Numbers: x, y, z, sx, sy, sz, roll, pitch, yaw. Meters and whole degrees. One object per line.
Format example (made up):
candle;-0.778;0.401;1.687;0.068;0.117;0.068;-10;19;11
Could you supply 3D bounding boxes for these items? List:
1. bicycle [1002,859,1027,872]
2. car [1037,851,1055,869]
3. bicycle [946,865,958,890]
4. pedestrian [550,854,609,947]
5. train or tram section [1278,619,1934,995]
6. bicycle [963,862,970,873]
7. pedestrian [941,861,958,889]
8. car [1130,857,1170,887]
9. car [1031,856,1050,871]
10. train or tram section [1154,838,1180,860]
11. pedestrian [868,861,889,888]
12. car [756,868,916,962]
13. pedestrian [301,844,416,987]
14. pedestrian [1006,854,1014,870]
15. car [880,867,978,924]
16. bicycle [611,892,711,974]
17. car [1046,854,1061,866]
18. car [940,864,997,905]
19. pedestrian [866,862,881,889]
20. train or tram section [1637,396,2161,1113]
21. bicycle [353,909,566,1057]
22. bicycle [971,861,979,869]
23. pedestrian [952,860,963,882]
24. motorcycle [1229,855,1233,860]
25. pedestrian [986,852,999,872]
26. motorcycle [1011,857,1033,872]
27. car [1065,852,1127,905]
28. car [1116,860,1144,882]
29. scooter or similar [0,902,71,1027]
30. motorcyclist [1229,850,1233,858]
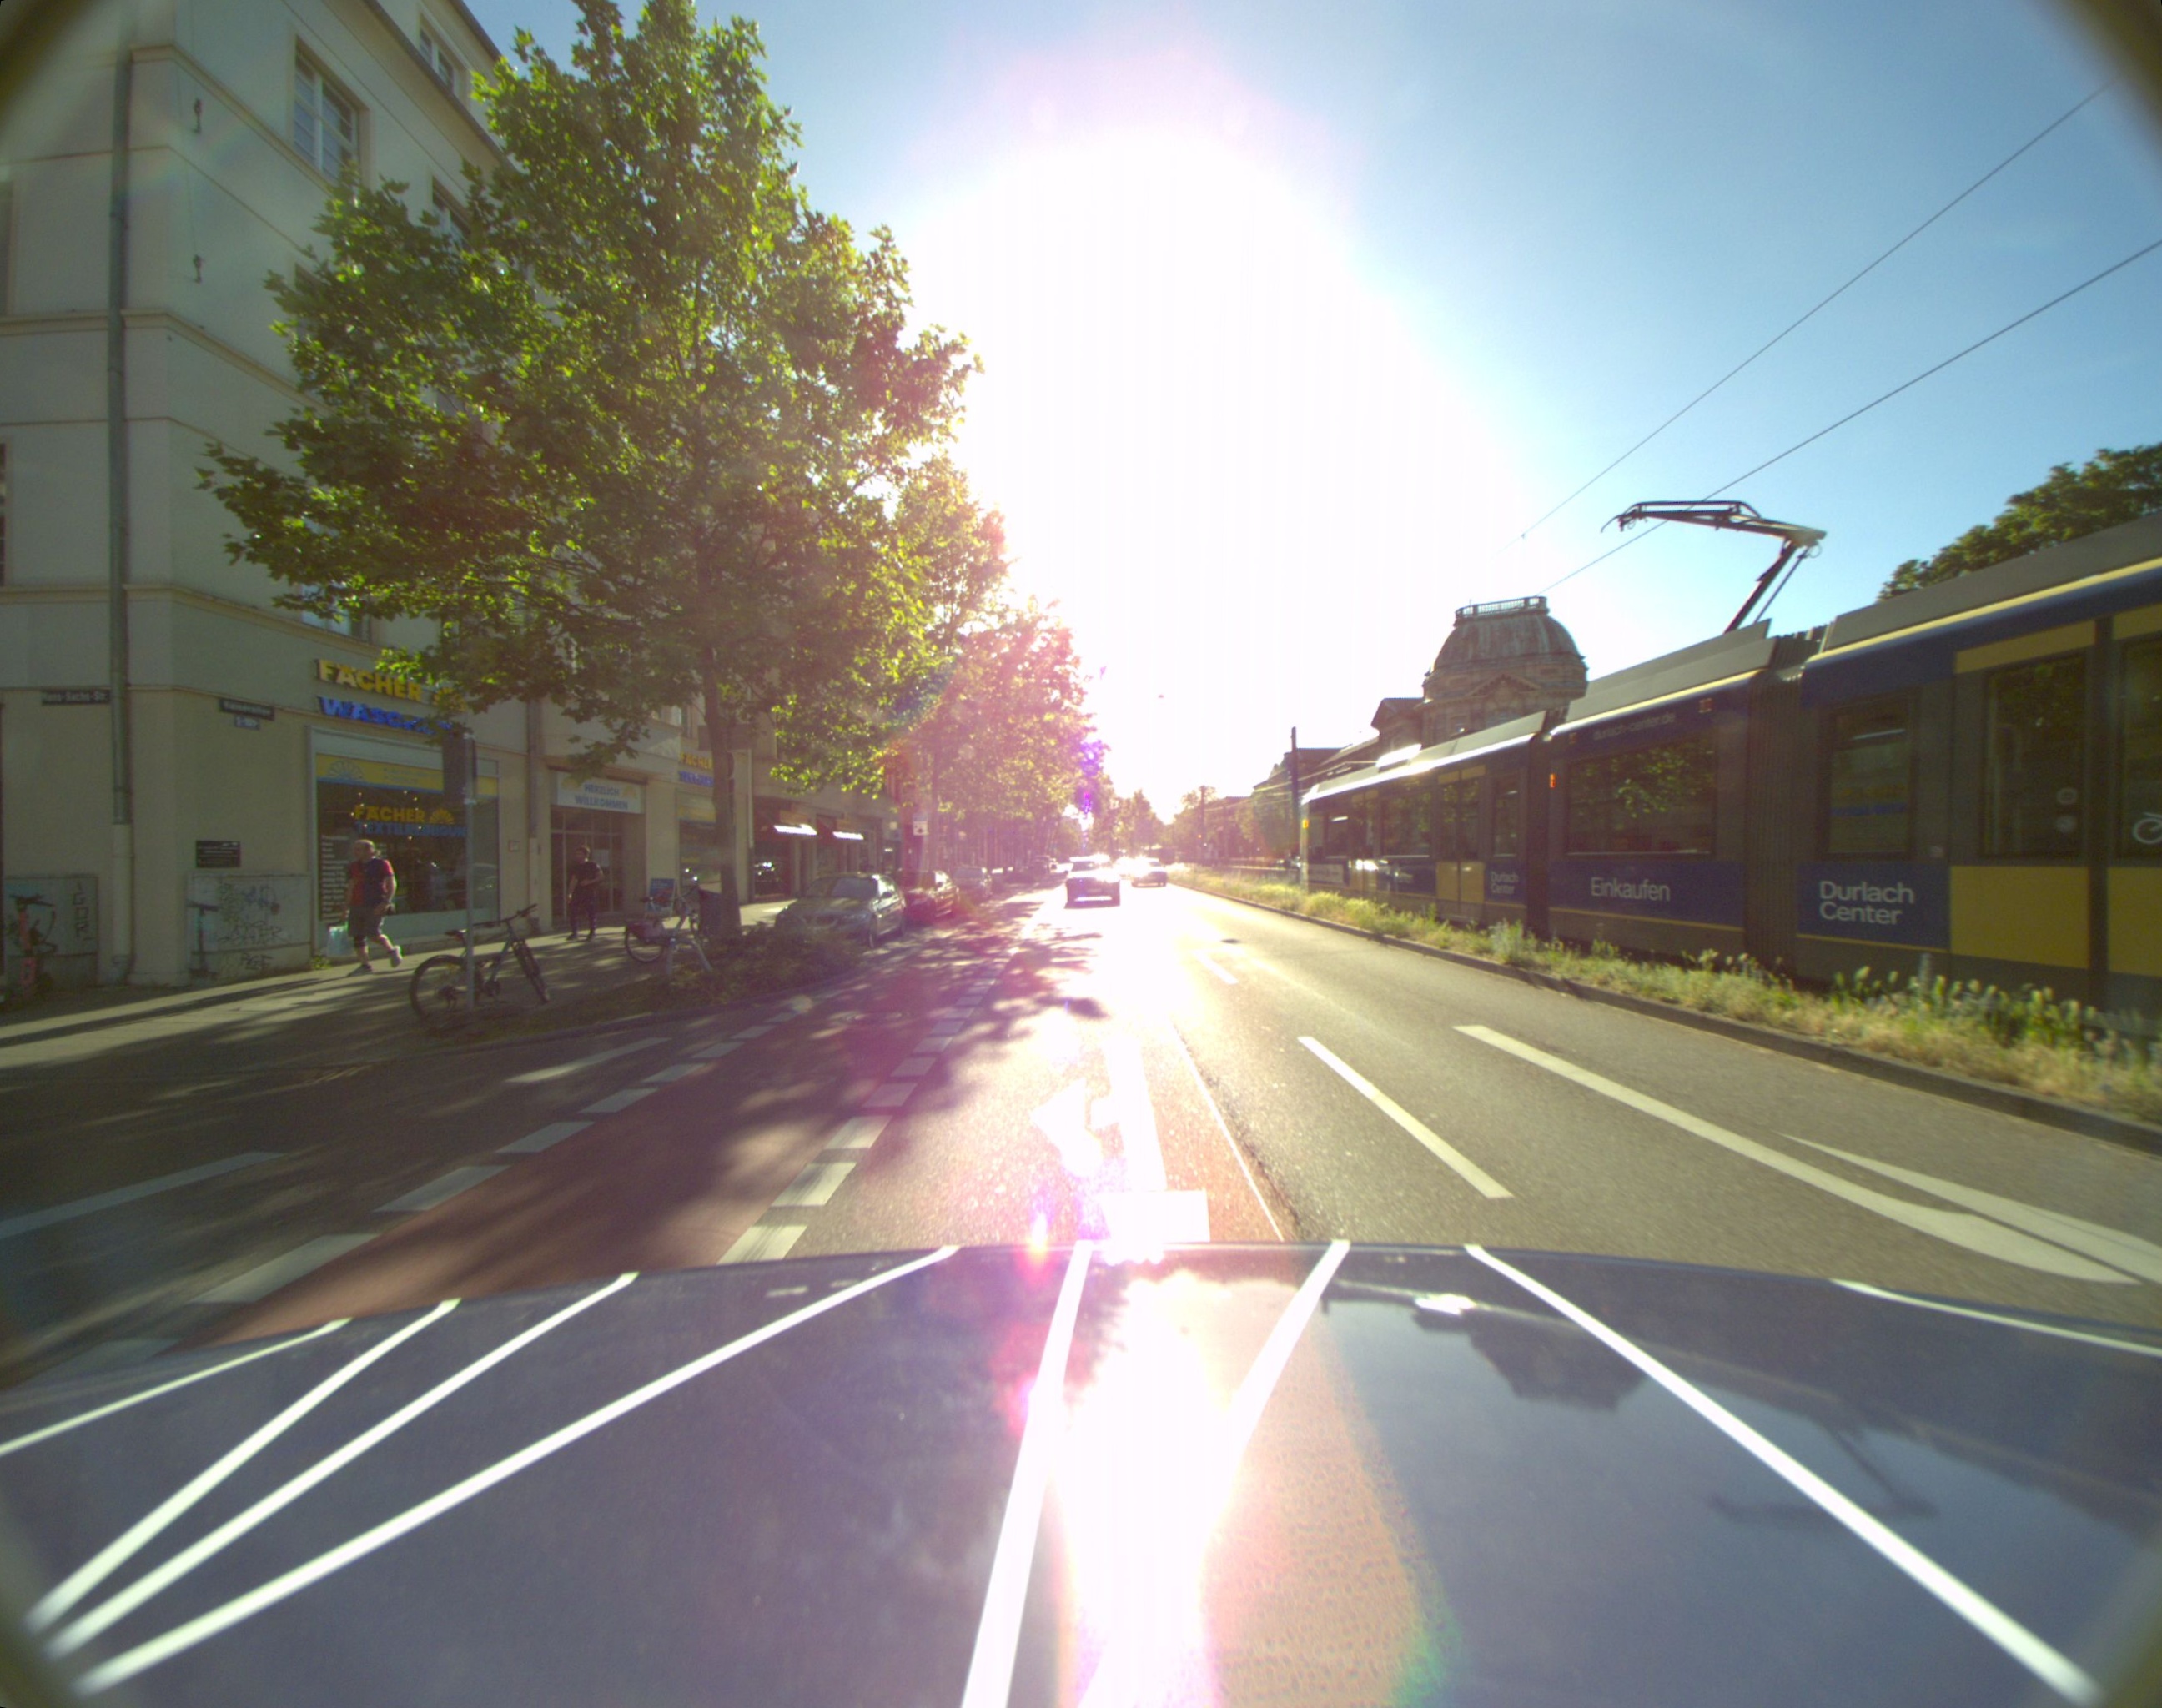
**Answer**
bicycle;-6.384;1.096;72.909;2.228;1.087;0.455;-3;1;2
car;-4.125;0.661;90.046;1.861;2.002;4.723;-3;0;0
bicycle;-6.640;1.185;39.222;0.393;1.208;1.902;0;2;-3
pedestrian;-9.491;0.862;14.397;0.559;1.701;0.770;-1;0;0
train or tram section;7.344;-0.520;15.062;2.936;3.790;14.271;-3;0;0
bicycle;-11.115;1.318;73.877;0.415;0.991;1.882;-2;0;0
pedestrian;-8.171;1.300;47.196;0.861;1.695;0.916;-1;1;-2
car;3.690;0.930;41.036;1.778;1.439;3.869;-3;0;0
car;-4.375;0.999;82.775;1.823;1.506;4.707;-3;0;-1
train or tram section;14.543;-0.814;128.642;2.968;3.463;11.286;-2;0;0
pedestrian;-10.366;1.054;38.896;0.787;1.361;0.857;0;1;1
car;-4.769;1.106;15.520;1.794;1.546;4.435;-1;0;0
pedestrian;-9.941;0.811;10.494;0.715;1.889;0.863;-1;1;0
pedestrian;-8.292;0.962;88.380;0.644;1.817;0.896;-3;1;11
car;-4.578;1.204;23.570;2.043;1.500;4.593;-1;0;0
bicycle;-6.677;1.215;12.180;0.488;1.129;1.691;-2;0;6
car;-3.863;0.829;106.352;1.672;1.561;4.280;-3;0;2
car;-4.478;1.179;30.725;1.699;1.493;3.801;1;0;0
pedestrian;-10.382;1.057;38.013;0.536;1.325;0.820;0;1;1
train or tram section;7.348;-0.588;6.002;2.962;3.874;3.865;-3;1;0
bicycle;-6.424;1.258;8.054;0.582;1.156;2.236;-3;0;-7
bicycle;-11.334;1.187;81.315;0.550;0.769;1.662;1;0;0
pedestrian;-9.561;1.322;58.901;0.683;1.612;0.562;-3;1;-2
motorcycle;25.217;0.522;127.503;0.369;0.779;1.522;-3;0;3
pedestrian;-8.995;0.776;77.652;1.090;2.002;1.046;-3;1;1
motorcycle;-5.585;0.991;71.892;1.954;1.224;0.515;-3;1;-3
car;0.468;0.796;27.176;1.949;1.690;5.306;-1;0;0
car;3.573;1.208;55.982;1.798;1.420;4.000;-3;0;1
scooter or similar;-11.798;1.199;8.319;0.382;1.278;1.204;-3;1;-29
motorcyclist;25.188;0.034;127.529;0.515;1.250;0.691;-3;1;4
